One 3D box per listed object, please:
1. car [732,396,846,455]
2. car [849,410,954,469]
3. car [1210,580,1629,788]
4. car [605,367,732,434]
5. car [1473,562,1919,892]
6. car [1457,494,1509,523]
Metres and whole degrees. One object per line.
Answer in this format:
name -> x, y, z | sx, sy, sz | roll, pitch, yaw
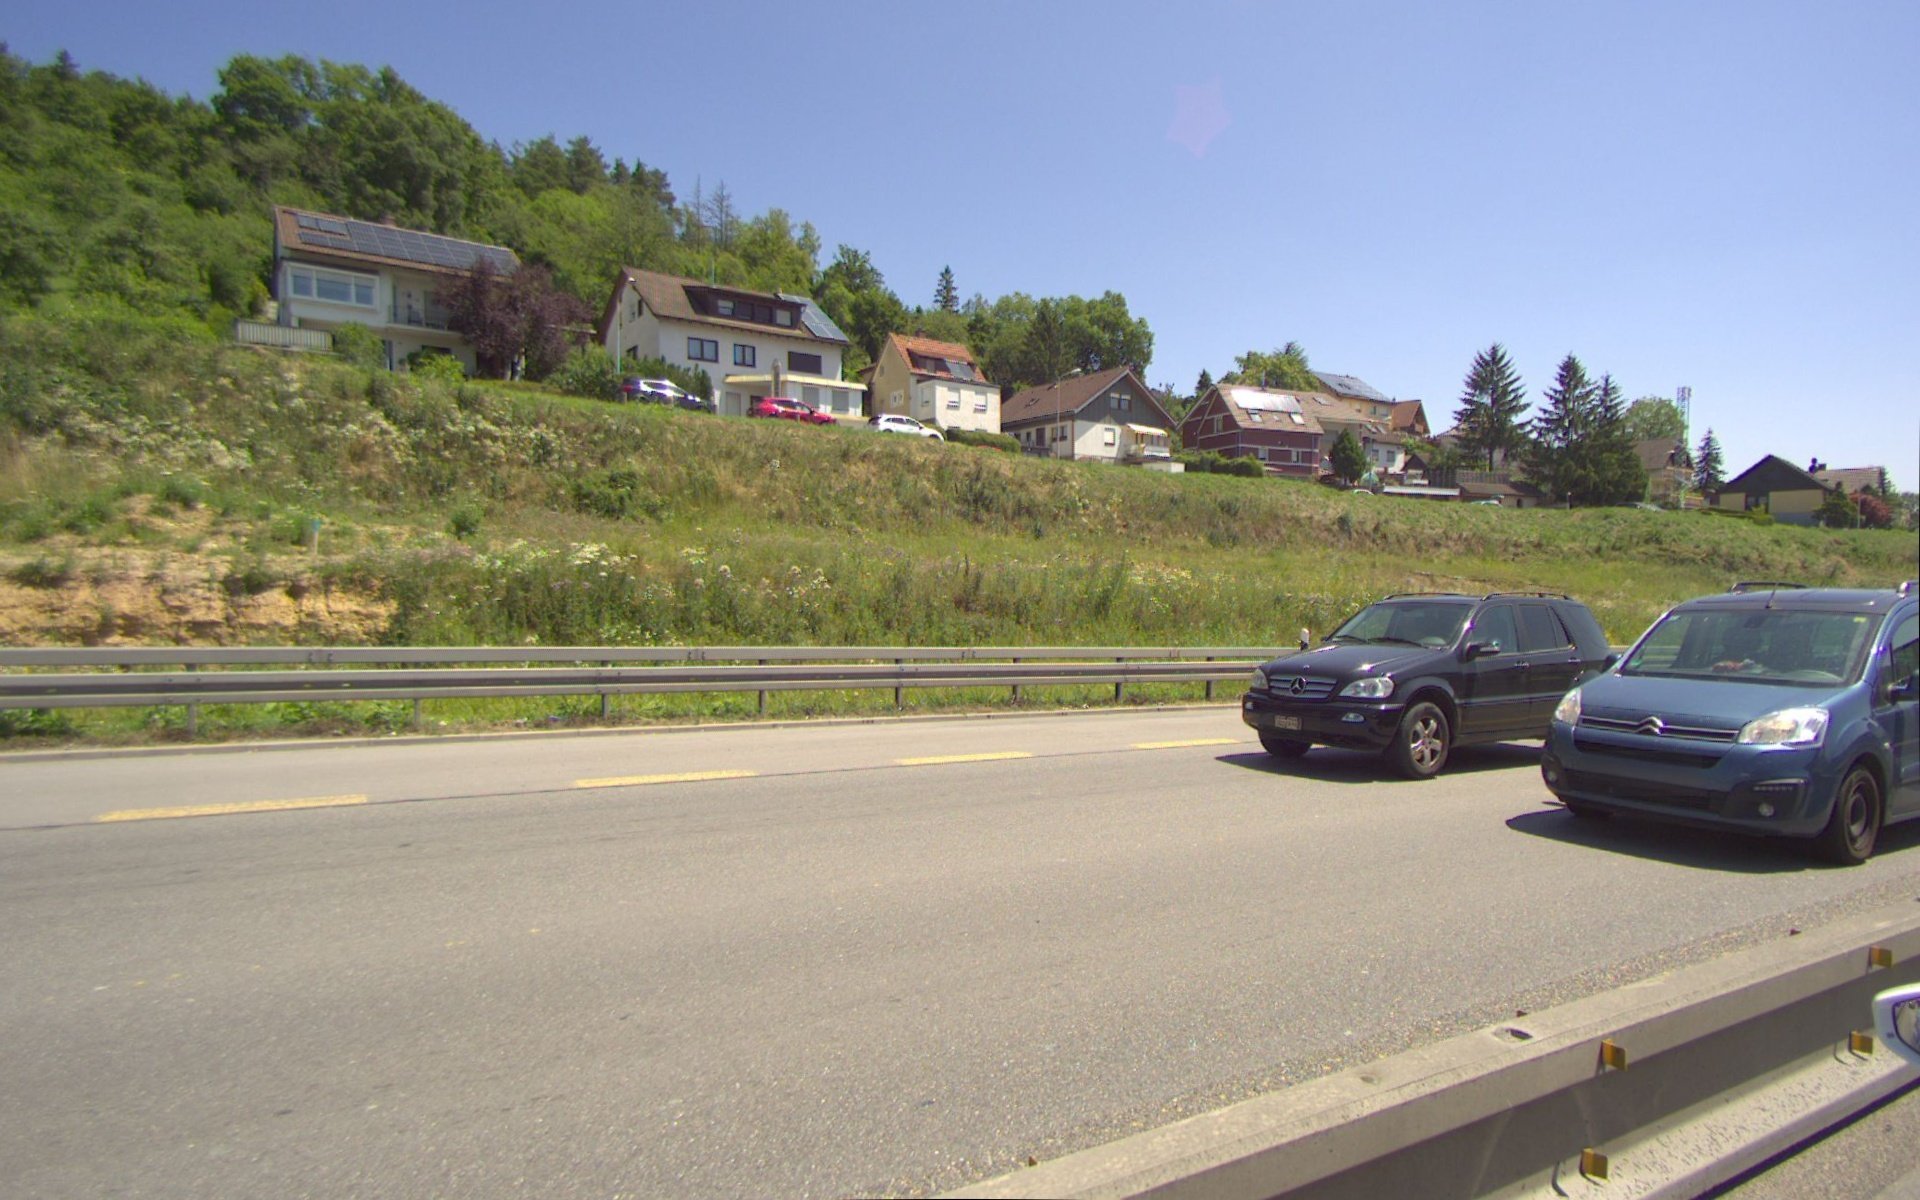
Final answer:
car -> -8.097, -8.216, 47.652 | 4.751, 1.817, 2.334 | 3, -1, -34
car -> -2.963, -8.120, 51.197 | 4.767, 2.068, 2.334 | 3, -1, -33
car -> 4.920, 0.781, 10.597 | 4.444, 1.789, 1.819 | 1, -1, -31
car -> -12.446, -8.462, 42.974 | 4.720, 1.817, 2.162 | 3, -1, -37
car -> 6.157, 0.747, 7.524 | 4.825, 1.801, 1.837 | 1, -1, -31
car -> 45.610, -7.977, 87.549 | 3.946, 2.040, 1.988 | 3, -1, -25
